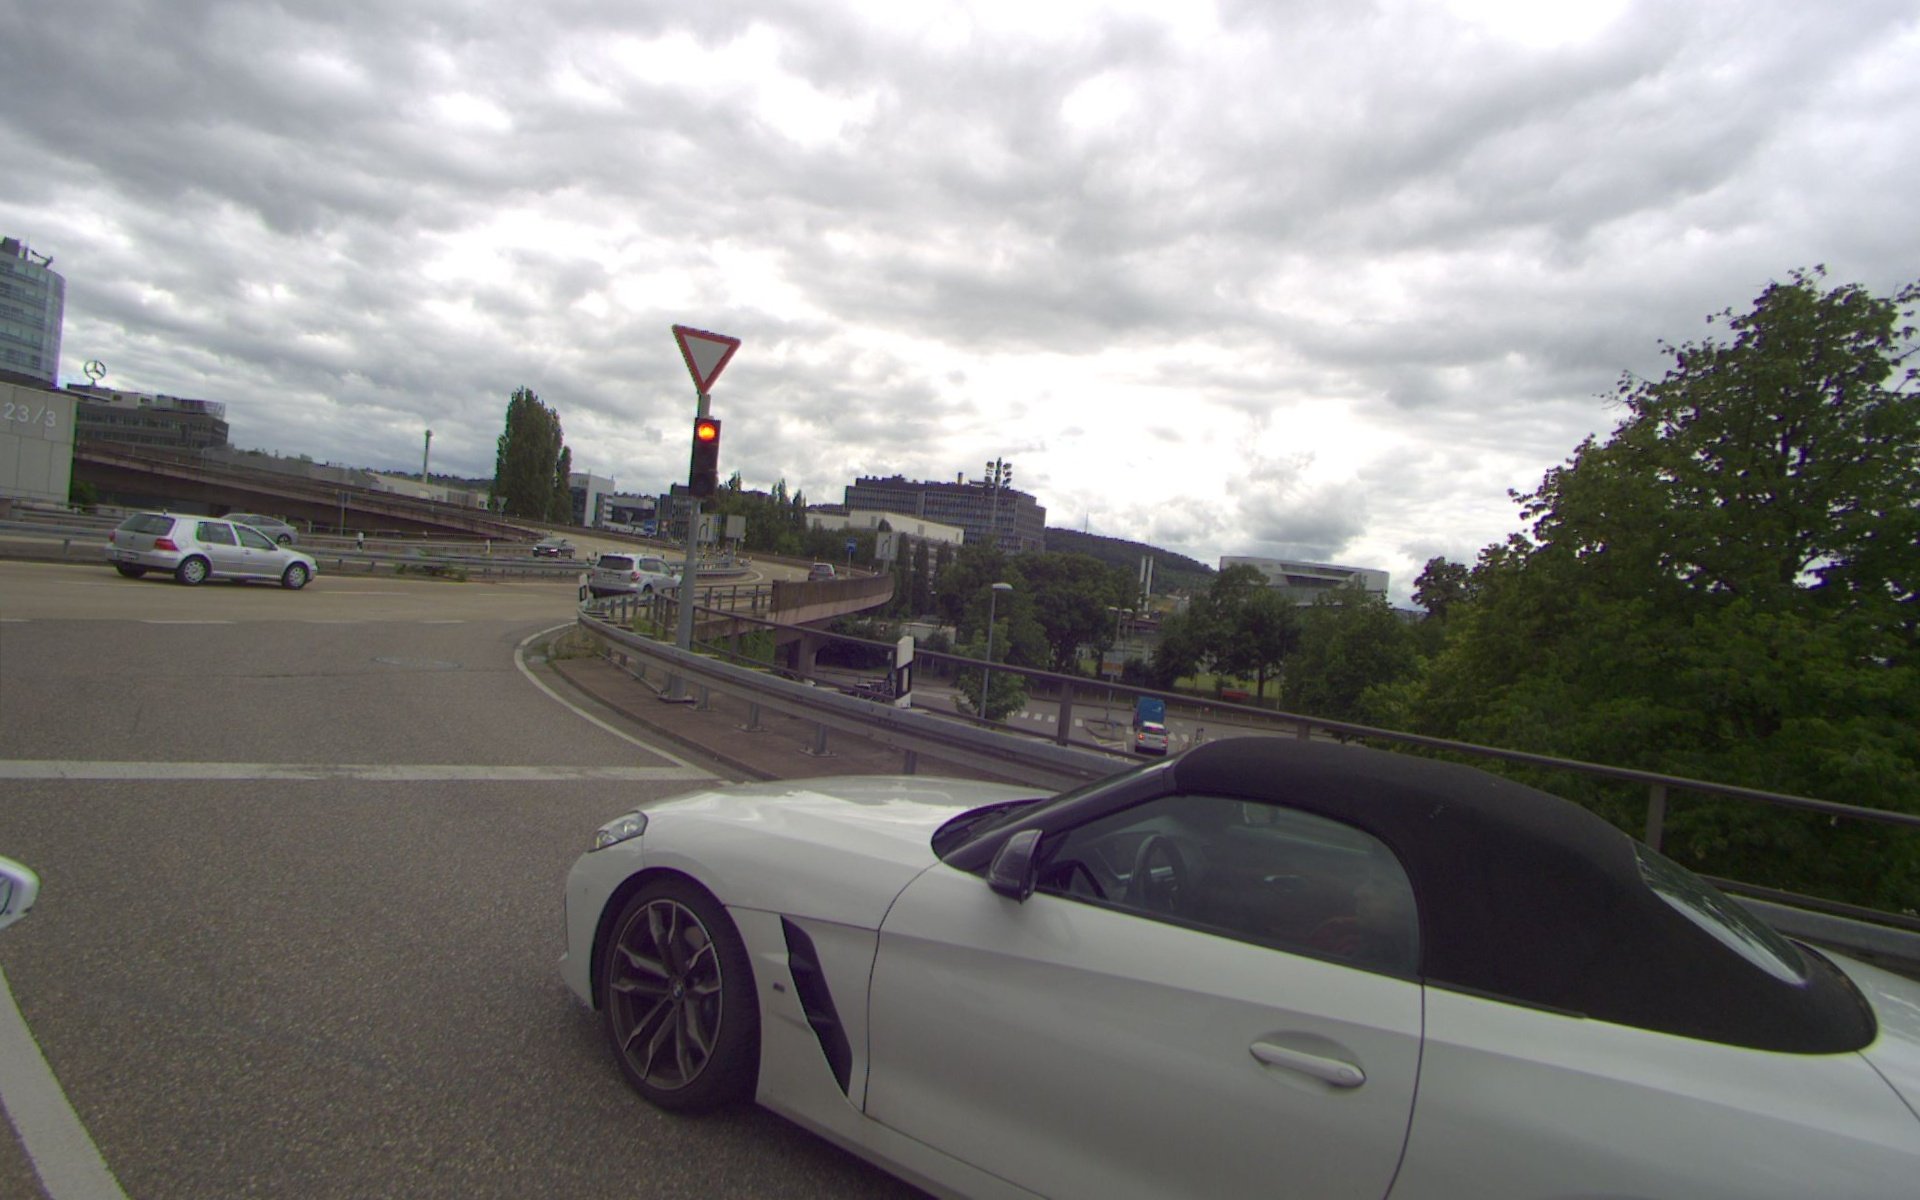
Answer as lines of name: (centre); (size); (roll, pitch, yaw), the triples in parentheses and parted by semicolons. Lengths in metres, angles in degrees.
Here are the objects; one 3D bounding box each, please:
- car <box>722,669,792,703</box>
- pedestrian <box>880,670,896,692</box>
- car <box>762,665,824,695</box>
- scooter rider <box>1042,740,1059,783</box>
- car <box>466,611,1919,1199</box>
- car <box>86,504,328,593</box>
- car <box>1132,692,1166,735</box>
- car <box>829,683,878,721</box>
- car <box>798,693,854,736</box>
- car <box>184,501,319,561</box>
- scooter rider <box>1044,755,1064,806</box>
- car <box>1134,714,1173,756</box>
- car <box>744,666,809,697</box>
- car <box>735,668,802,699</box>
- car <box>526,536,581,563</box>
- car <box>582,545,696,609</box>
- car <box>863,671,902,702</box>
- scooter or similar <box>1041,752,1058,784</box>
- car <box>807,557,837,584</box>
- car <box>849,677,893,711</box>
car: (-12.457, 5.270, 61.879); (3.792, 1.371, 1.826); (8, 1, 1)
pedestrian: (-5.407, 6.099, 75.755); (0.898, 1.514, 0.750); (8, -3, 8)
car: (-11.464, 5.492, 69.118); (3.792, 1.371, 1.826); (8, 1, 1)
scooter rider: (3.940, 7.031, 43.878); (0.481, 1.761, 0.514); (8, 2, 10)
car: (0.630, 0.987, 2.999); (4.194, 1.306, 1.808); (7, -2, 34)
car: (-16.327, -1.047, 22.103); (1.697, 1.417, 4.069); (7, 0, 11)
car: (13.756, 8.216, 73.350); (1.978, 2.617, 5.399); (10, -2, 10)
car: (-6.044, 5.791, 57.552); (1.792, 1.553, 4.000); (8, 0, 6)
car: (-6.832, 5.801, 51.506); (1.792, 1.553, 4.000); (8, 0, 6)
car: (-31.487, -3.006, 44.906); (1.879, 1.679, 4.758); (8, -4, 12)
scooter rider: (3.521, 6.755, 37.618); (0.481, 1.776, 0.548); (8, 2, 10)
car: (11.767, 8.189, 61.322); (1.978, 1.883, 4.868); (10, -2, 11)
car: (-12.064, 5.375, 66.338); (3.792, 1.371, 1.826); (8, 1, 1)
car: (-12.179, 5.318, 64.219); (3.792, 1.371, 1.826); (8, 1, 1)
car: (-28.203, -3.489, 69.953); (1.880, 1.439, 3.992); (9, 1, 3)
car: (-10.863, -0.710, 34.400); (1.697, 1.758, 4.558); (7, 0, 8)
car: (-5.270, 5.862, 68.620); (1.792, 1.553, 4.000); (8, 0, 6)
scooter or similar: (3.896, 7.330, 43.898); (0.481, 1.199, 1.073); (8, 1, 10)
car: (-8.940, -1.869, 65.382); (1.699, 1.480, 4.238); (6, 0, -6)
car: (-5.524, 5.836, 63.039); (1.792, 1.553, 4.195); (8, 0, 6)
